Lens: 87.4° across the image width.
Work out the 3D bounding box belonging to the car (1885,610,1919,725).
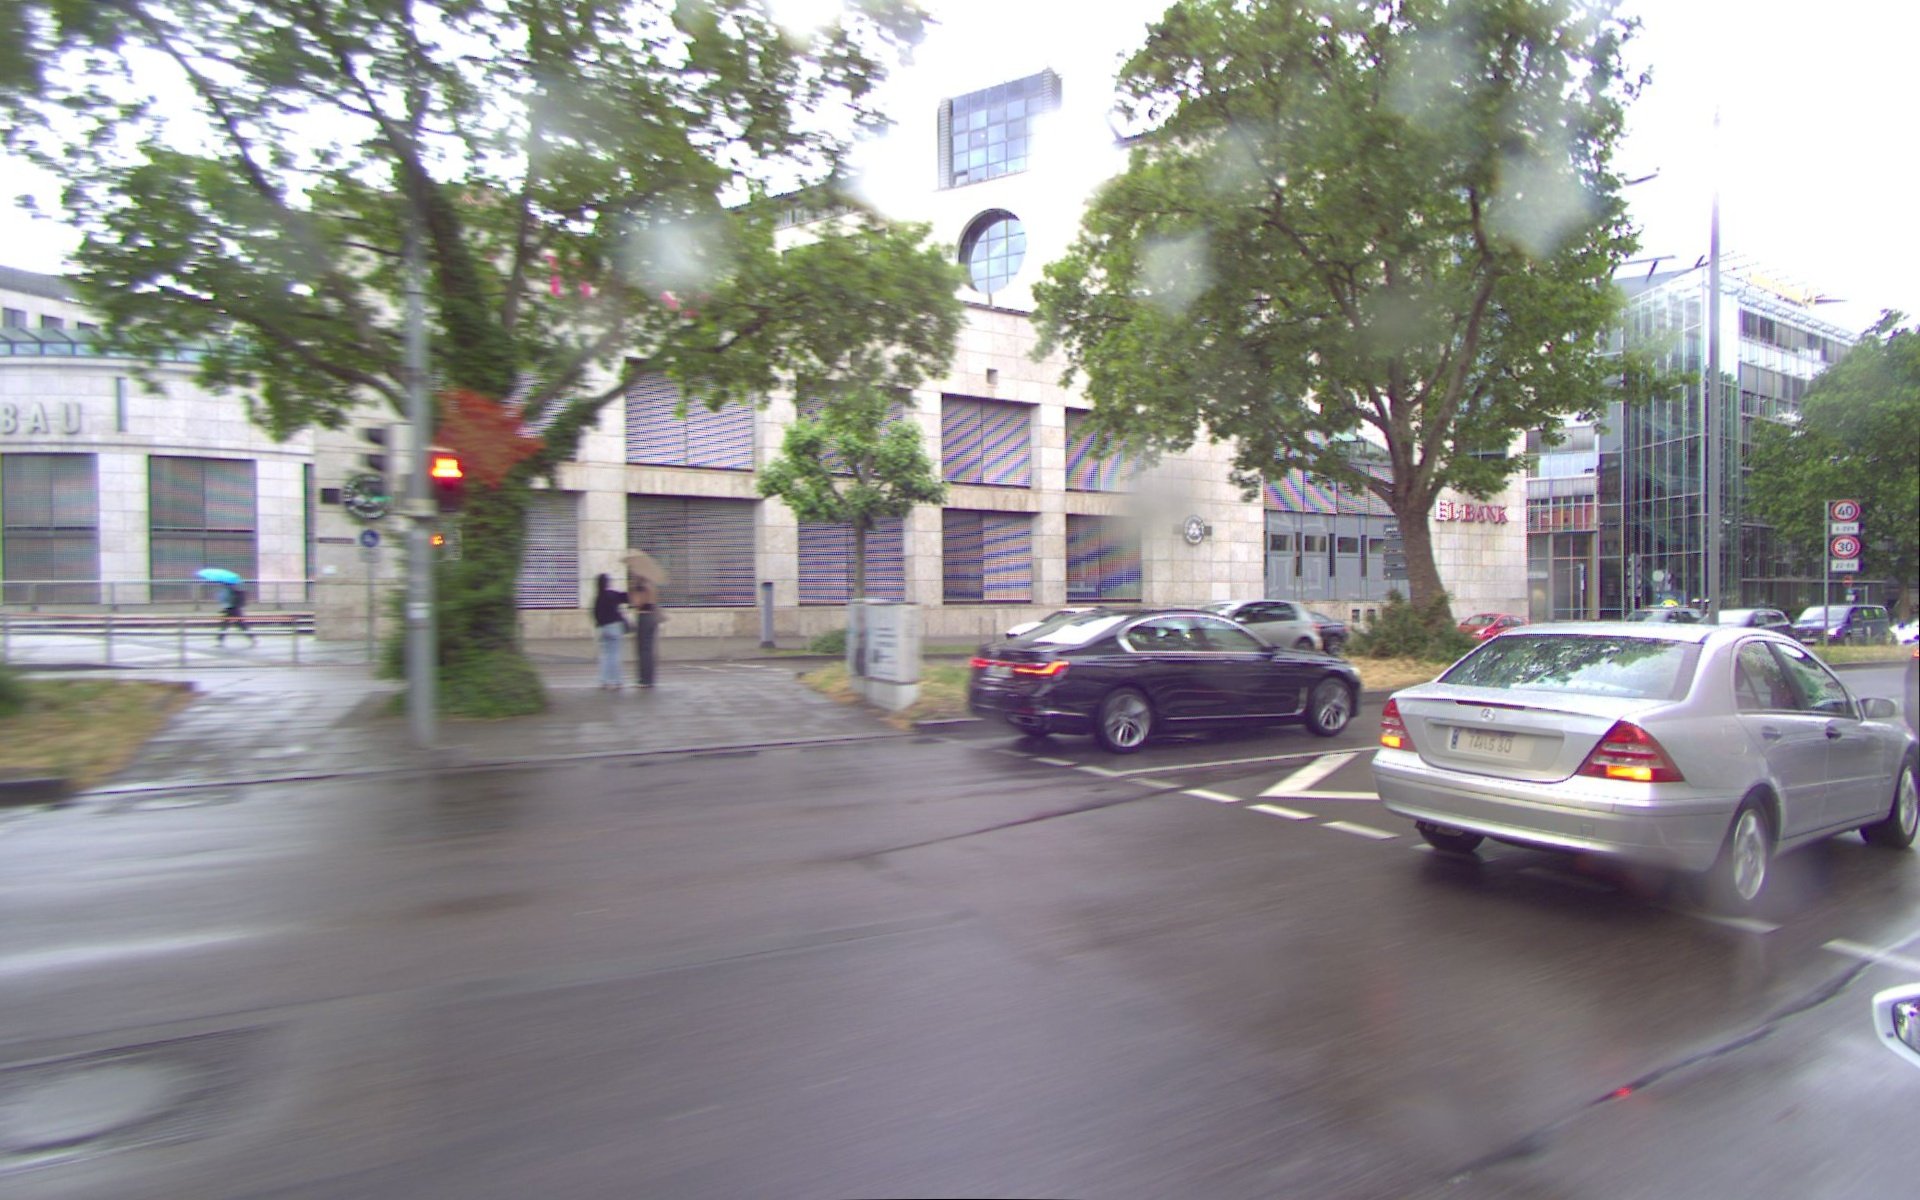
[{"bbox_3d":[14.237,0.917,13.648,3.963,1.476,1.761,2,-1,-37],"label":"car"}]

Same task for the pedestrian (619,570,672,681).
[{"bbox_3d":[-4.740,0.365,15.159,0.440,1.636,0.640,1,1,30],"label":"pedestrian"}]

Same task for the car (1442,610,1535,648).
[{"bbox_3d":[20.922,1.166,39.766,3.356,1.434,1.587,1,0,-26],"label":"car"}]

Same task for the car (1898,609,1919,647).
[{"bbox_3d":[38.229,1.103,38.596,4.258,1.461,1.853,1,-1,-27],"label":"car"}]

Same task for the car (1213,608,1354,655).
[{"bbox_3d":[10.139,0.993,31.458,4.117,1.383,1.742,1,-1,-25],"label":"car"}]

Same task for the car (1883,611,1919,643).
[{"bbox_3d":[45.134,1.268,46.808,4.339,1.451,1.720,1,-1,-27],"label":"car"}]

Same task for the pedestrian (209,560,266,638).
[{"bbox_3d":[-18.375,-0.025,25.557,1.112,1.950,0.585,0,2,-30],"label":"pedestrian"}]

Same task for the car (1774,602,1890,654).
[{"bbox_3d":[35.669,1.157,41.051,5.038,2.029,1.824,1,0,-27],"label":"car"}]

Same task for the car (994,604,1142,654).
[{"bbox_3d":[3.330,0.893,30.893,4.235,1.434,1.742,1,0,-25],"label":"car"}]

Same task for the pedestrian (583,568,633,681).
[{"bbox_3d":[-5.183,0.350,14.788,0.544,1.636,0.425,1,1,21],"label":"pedestrian"}]

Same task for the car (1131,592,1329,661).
[{"bbox_3d":[5.933,0.577,22.004,4.077,1.383,1.741,1,-1,-27],"label":"car"}]

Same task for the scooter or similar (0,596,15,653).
[{"bbox_3d":[-20.251,0.490,20.806,1.582,1.141,0.442,2,2,26],"label":"scooter or similar"}]

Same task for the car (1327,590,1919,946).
[{"bbox_3d":[4.351,0.731,6.229,4.315,1.499,1.662,0,2,-34],"label":"car"}]

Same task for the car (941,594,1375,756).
[{"bbox_3d":[2.346,0.735,11.563,4.817,1.499,1.864,1,2,-28],"label":"car"}]

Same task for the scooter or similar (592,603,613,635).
[{"bbox_3d":[-10.961,0.585,30.777,0.344,0.931,1.409,0,1,-31],"label":"scooter or similar"}]

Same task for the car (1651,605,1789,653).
[{"bbox_3d":[23.129,0.871,30.568,3.890,1.383,1.742,1,-1,-25],"label":"car"}]

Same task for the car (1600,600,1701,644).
[{"bbox_3d":[27.505,0.868,39.996,4.045,1.661,1.821,1,-1,-31],"label":"car"}]
